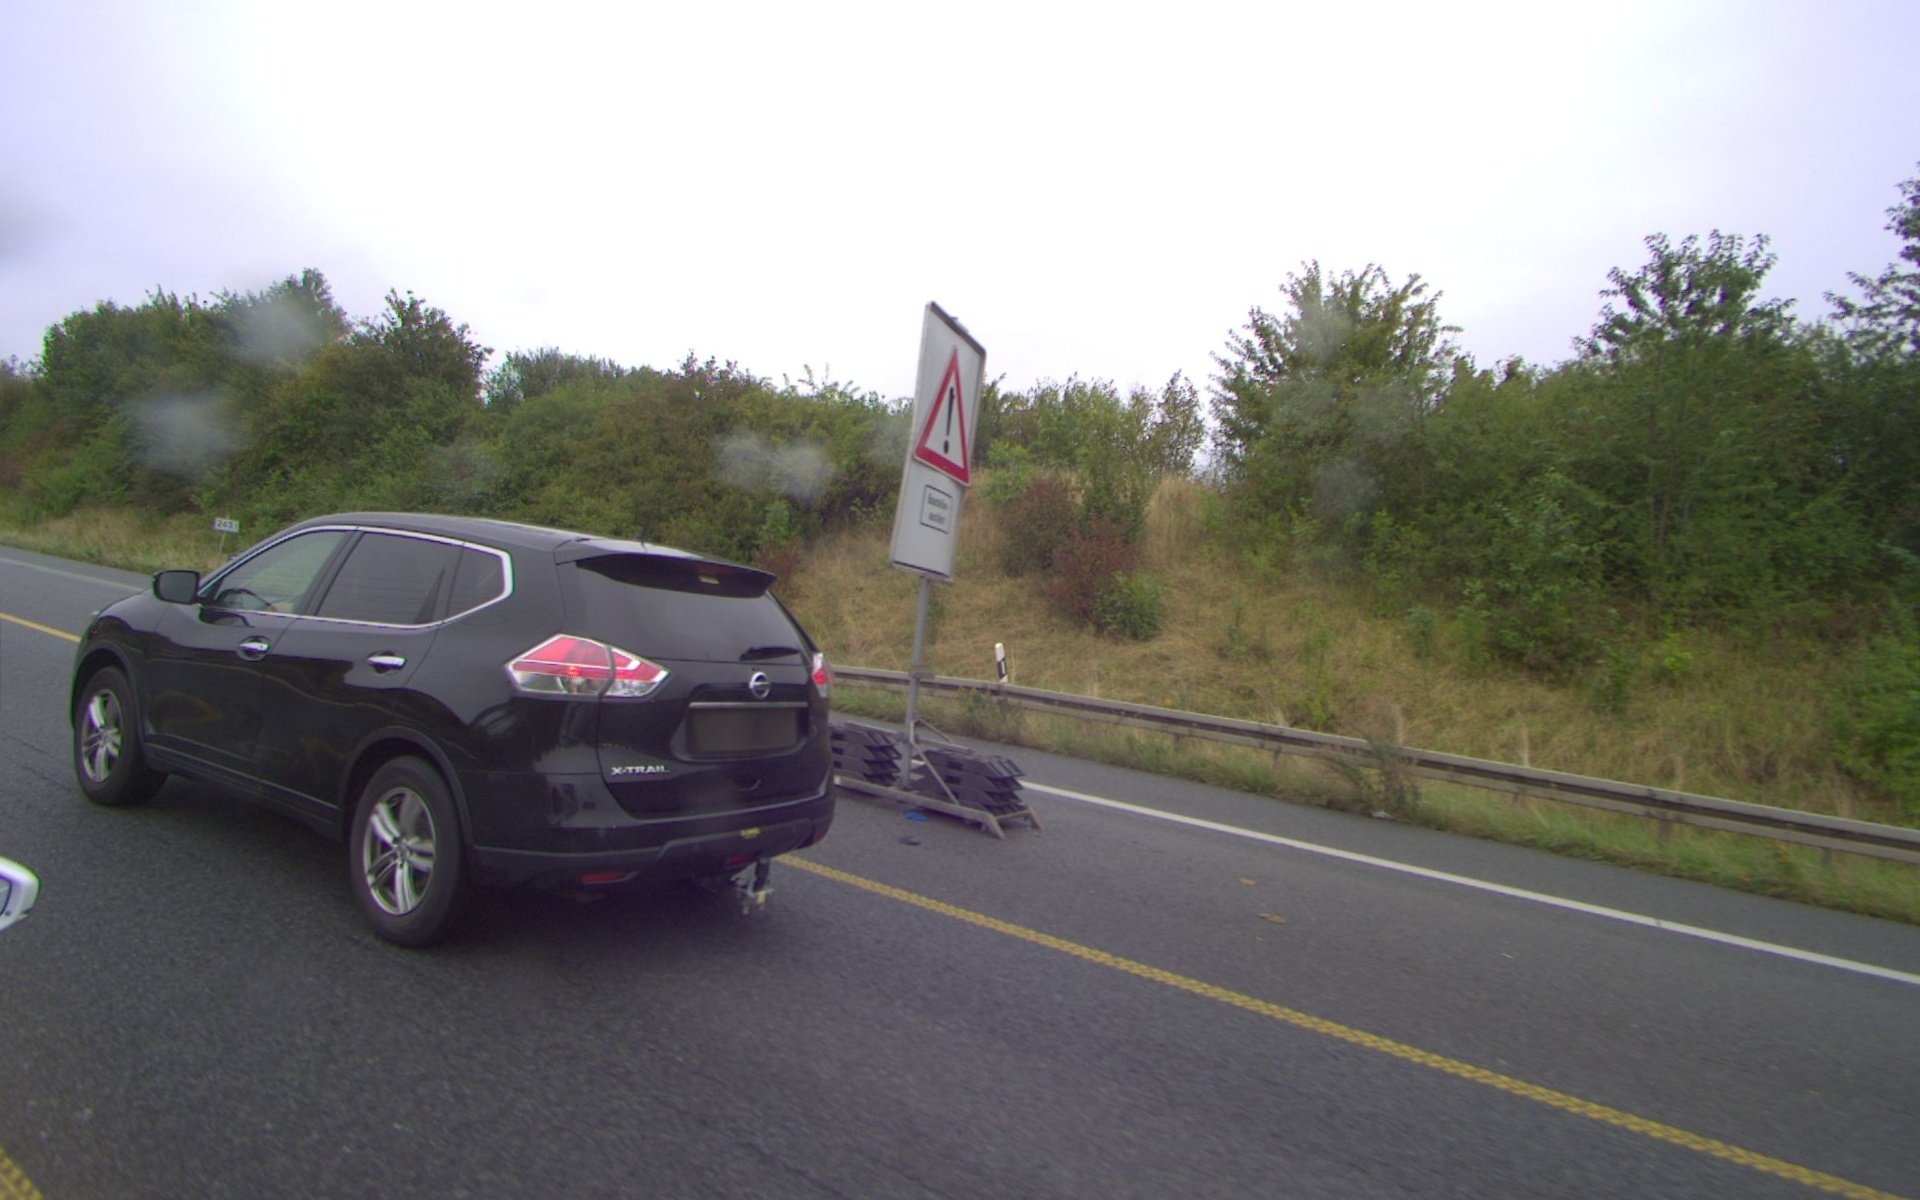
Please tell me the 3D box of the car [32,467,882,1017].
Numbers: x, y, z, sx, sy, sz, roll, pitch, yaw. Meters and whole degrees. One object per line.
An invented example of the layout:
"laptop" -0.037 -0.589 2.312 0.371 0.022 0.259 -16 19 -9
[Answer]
"car" -2.685 0.398 5.097 4.208 1.678 1.688 7 -1 30
